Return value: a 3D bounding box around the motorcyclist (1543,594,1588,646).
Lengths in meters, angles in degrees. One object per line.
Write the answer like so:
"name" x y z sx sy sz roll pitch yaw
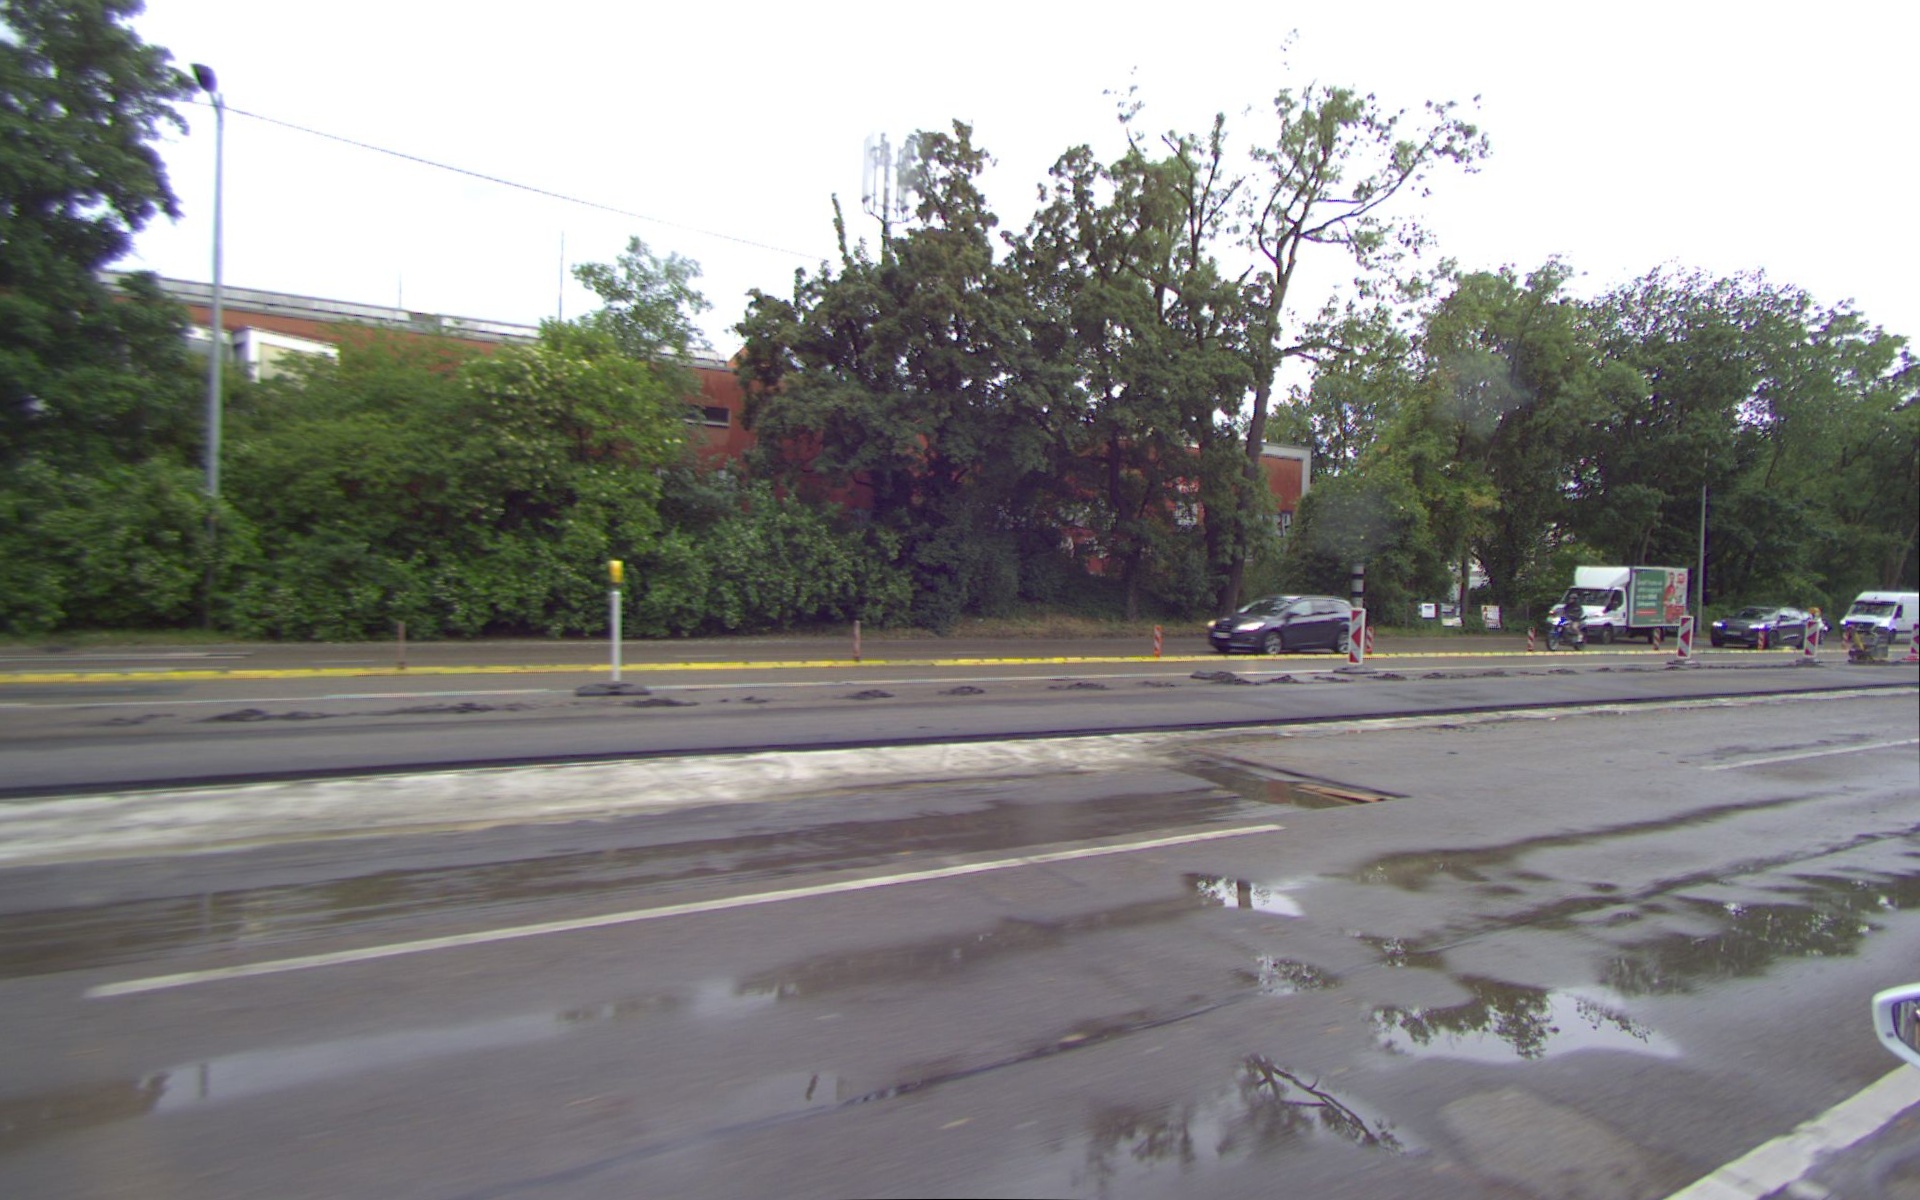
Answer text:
"motorcyclist" 19.042 0.638 31.615 0.916 1.585 0.824 1 1 -30

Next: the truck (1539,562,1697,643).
"truck" 25.769 0.139 39.244 6.851 2.979 2.236 1 0 -29

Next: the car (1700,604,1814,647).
"car" 31.064 0.976 39.145 4.383 1.551 1.951 1 0 -29

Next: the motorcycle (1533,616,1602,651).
"motorcycle" 19.199 1.055 31.726 2.339 1.028 0.824 1 1 -31

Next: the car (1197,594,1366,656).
"car" 8.115 0.614 25.271 4.271 1.434 1.661 1 0 -31

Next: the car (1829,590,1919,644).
"car" 47.404 0.875 51.516 6.771 2.614 2.090 1 0 -29
